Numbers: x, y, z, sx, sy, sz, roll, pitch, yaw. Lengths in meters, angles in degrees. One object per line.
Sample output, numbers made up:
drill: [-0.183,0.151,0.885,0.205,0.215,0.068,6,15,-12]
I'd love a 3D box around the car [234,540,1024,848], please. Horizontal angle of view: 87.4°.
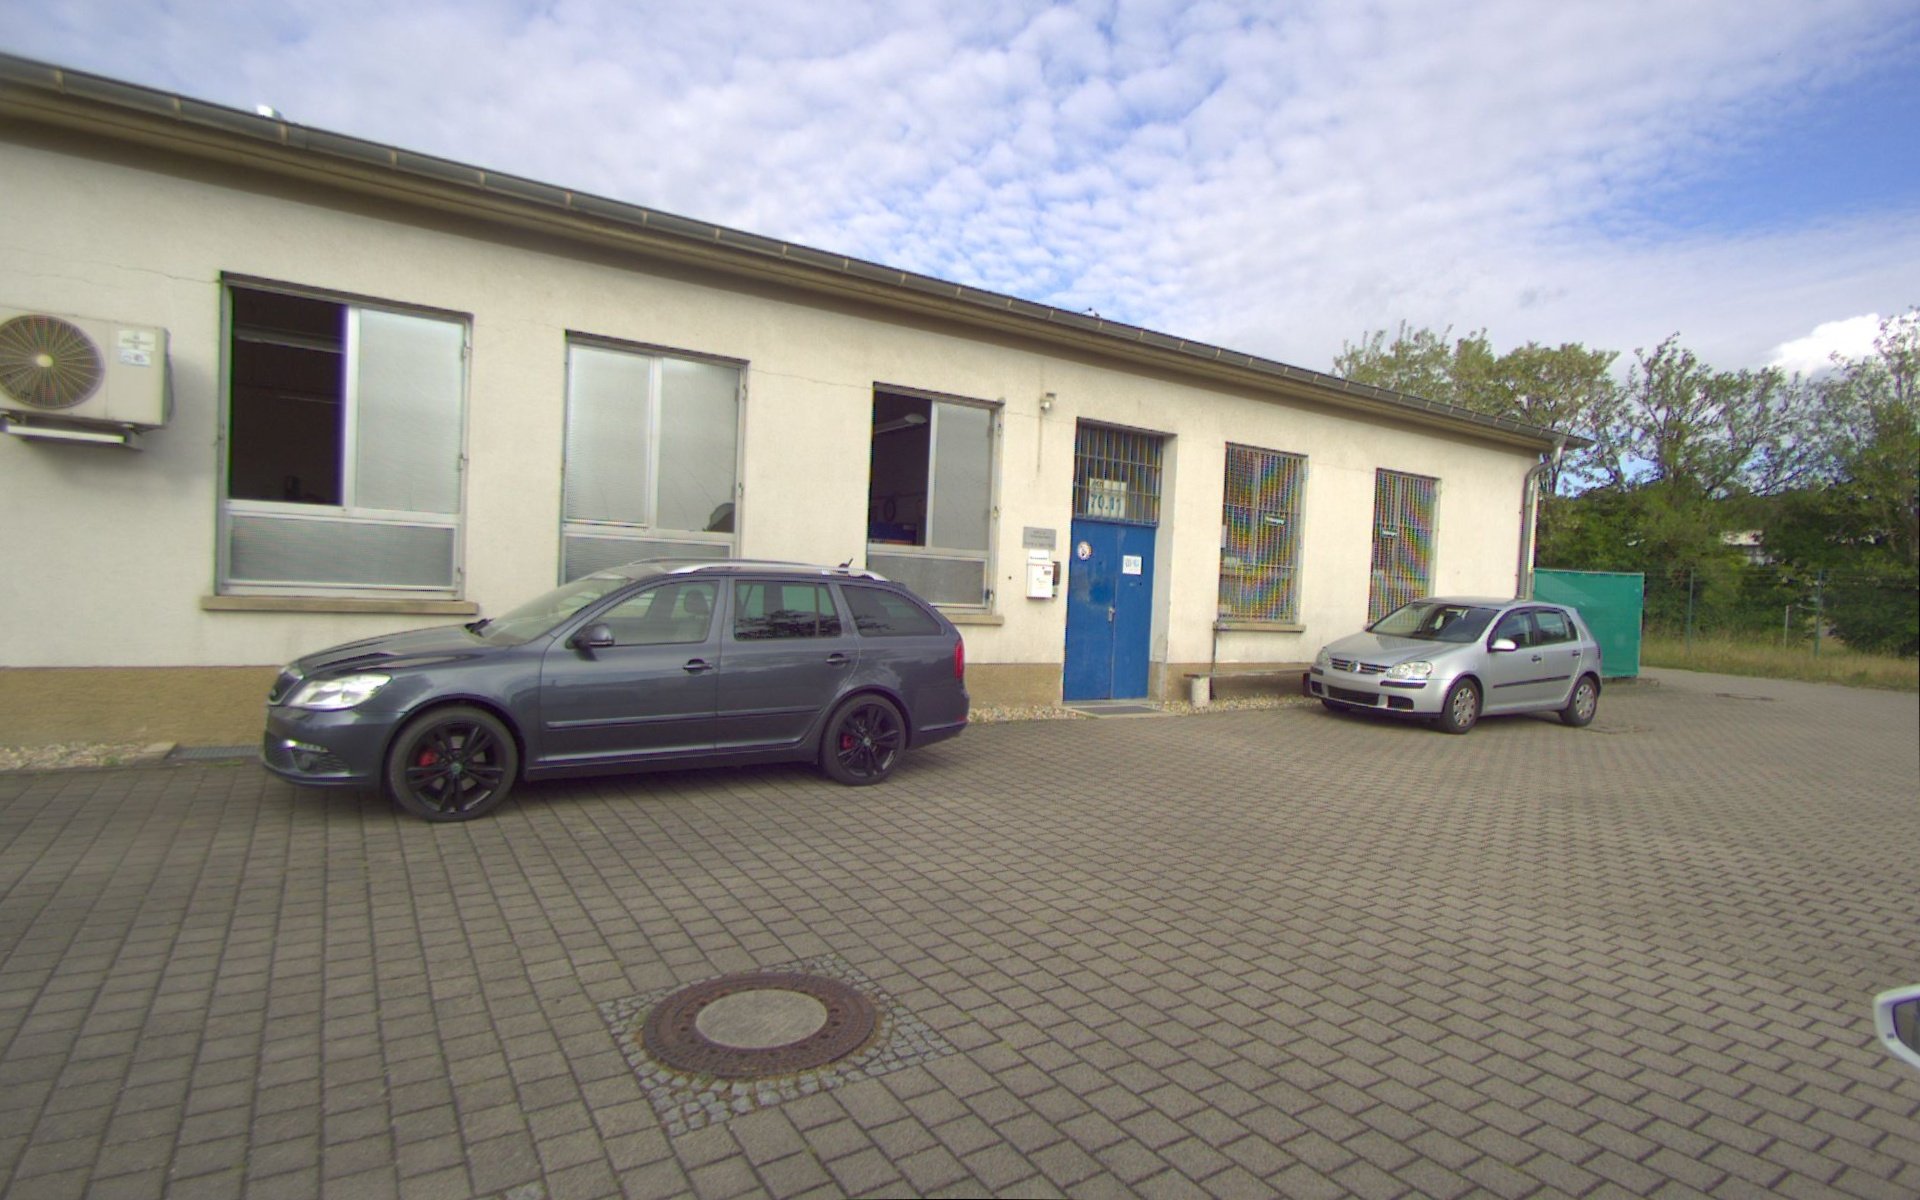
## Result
car: [-2.032,0.473,6.969,4.761,1.480,1.912,1,1,-34]

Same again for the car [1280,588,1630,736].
car: [6.113,0.670,12.262,4.323,1.458,1.912,1,1,-34]
